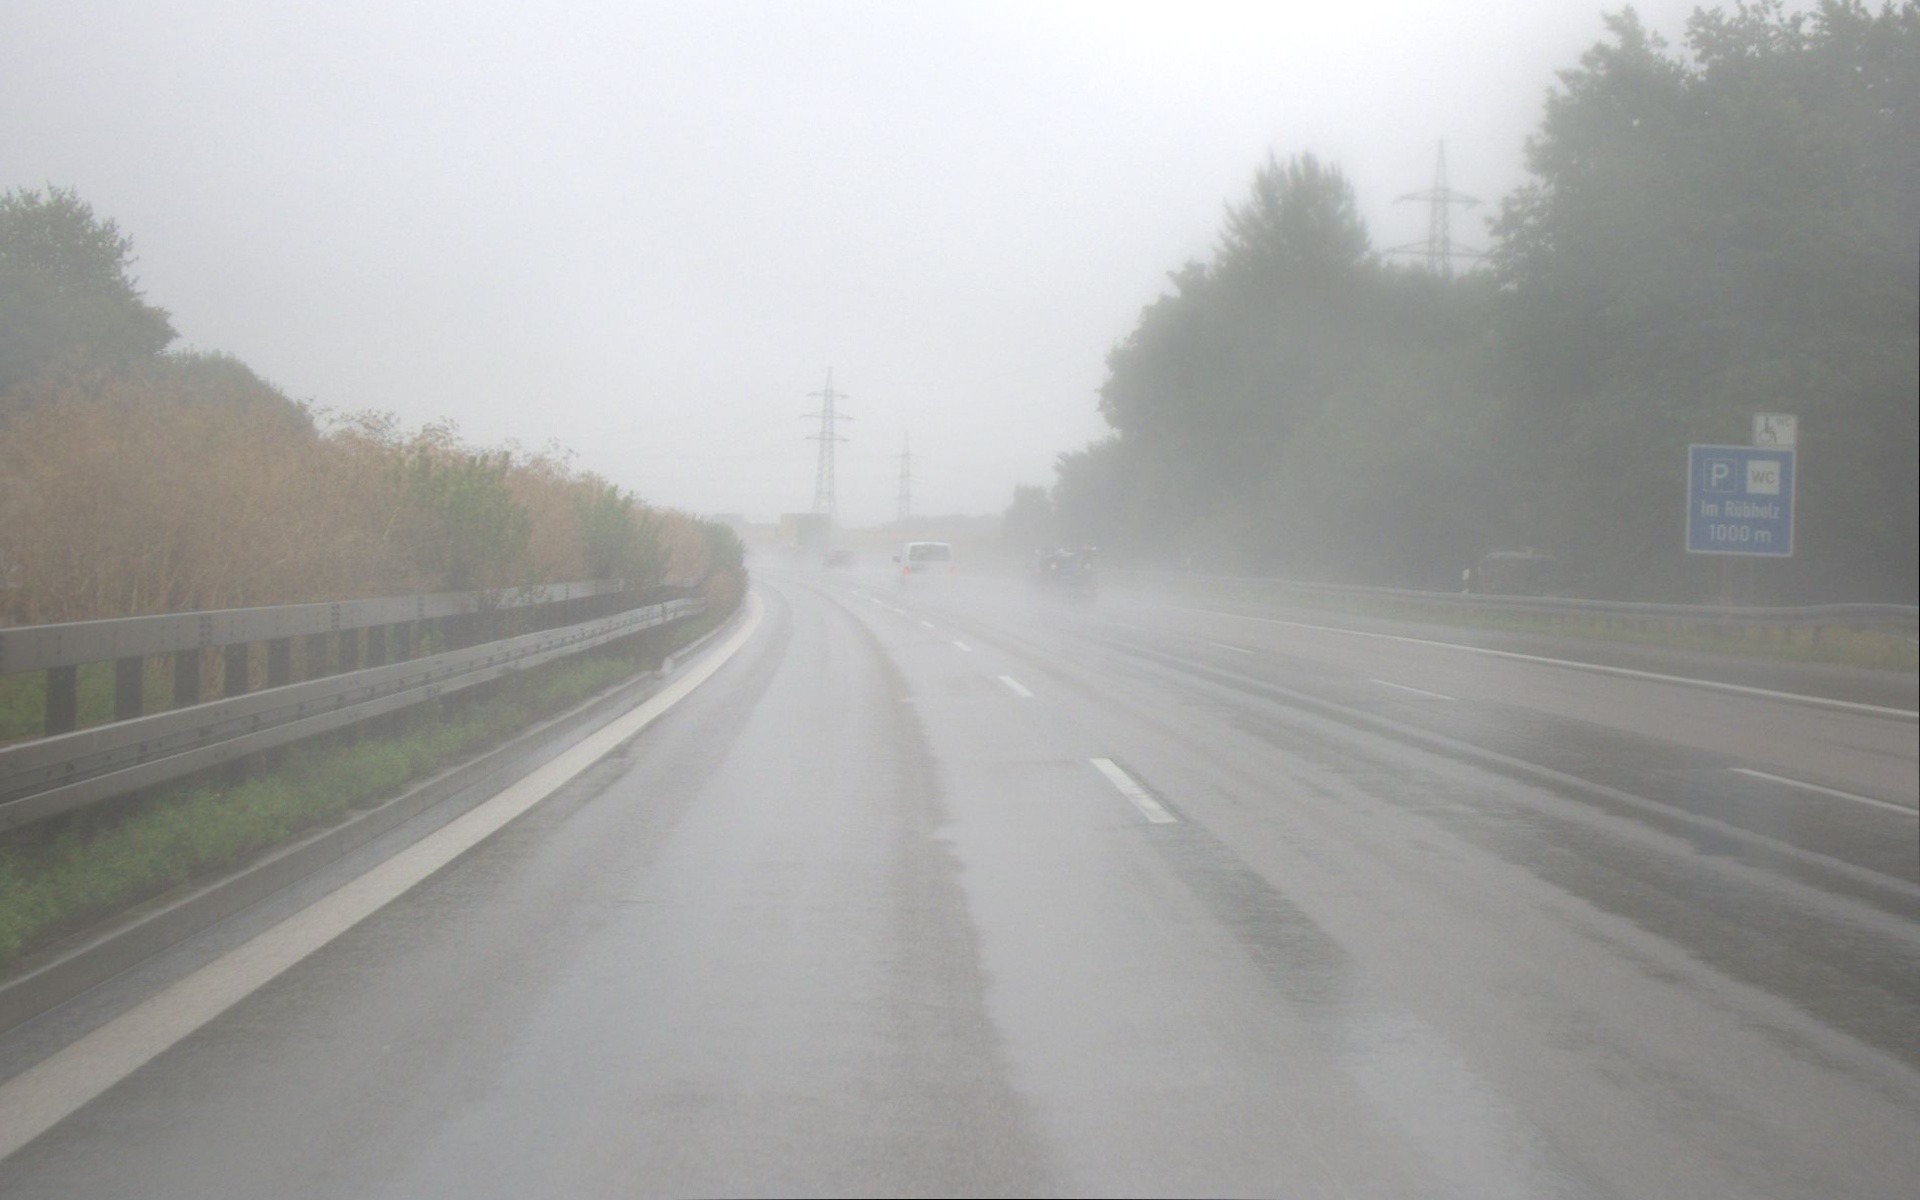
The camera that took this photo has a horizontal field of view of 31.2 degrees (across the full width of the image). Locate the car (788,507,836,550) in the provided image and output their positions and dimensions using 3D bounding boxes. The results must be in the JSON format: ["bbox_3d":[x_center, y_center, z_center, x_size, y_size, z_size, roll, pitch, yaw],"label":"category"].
[{"bbox_3d":[-11.336,-5.485,262.309,3.199,3.182,7.258,1,1,-6],"label":"car"}]

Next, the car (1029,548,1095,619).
[{"bbox_3d":[3.237,-0.546,109.662,1.807,2.151,4.001,1,1,-2],"label":"car"}]
